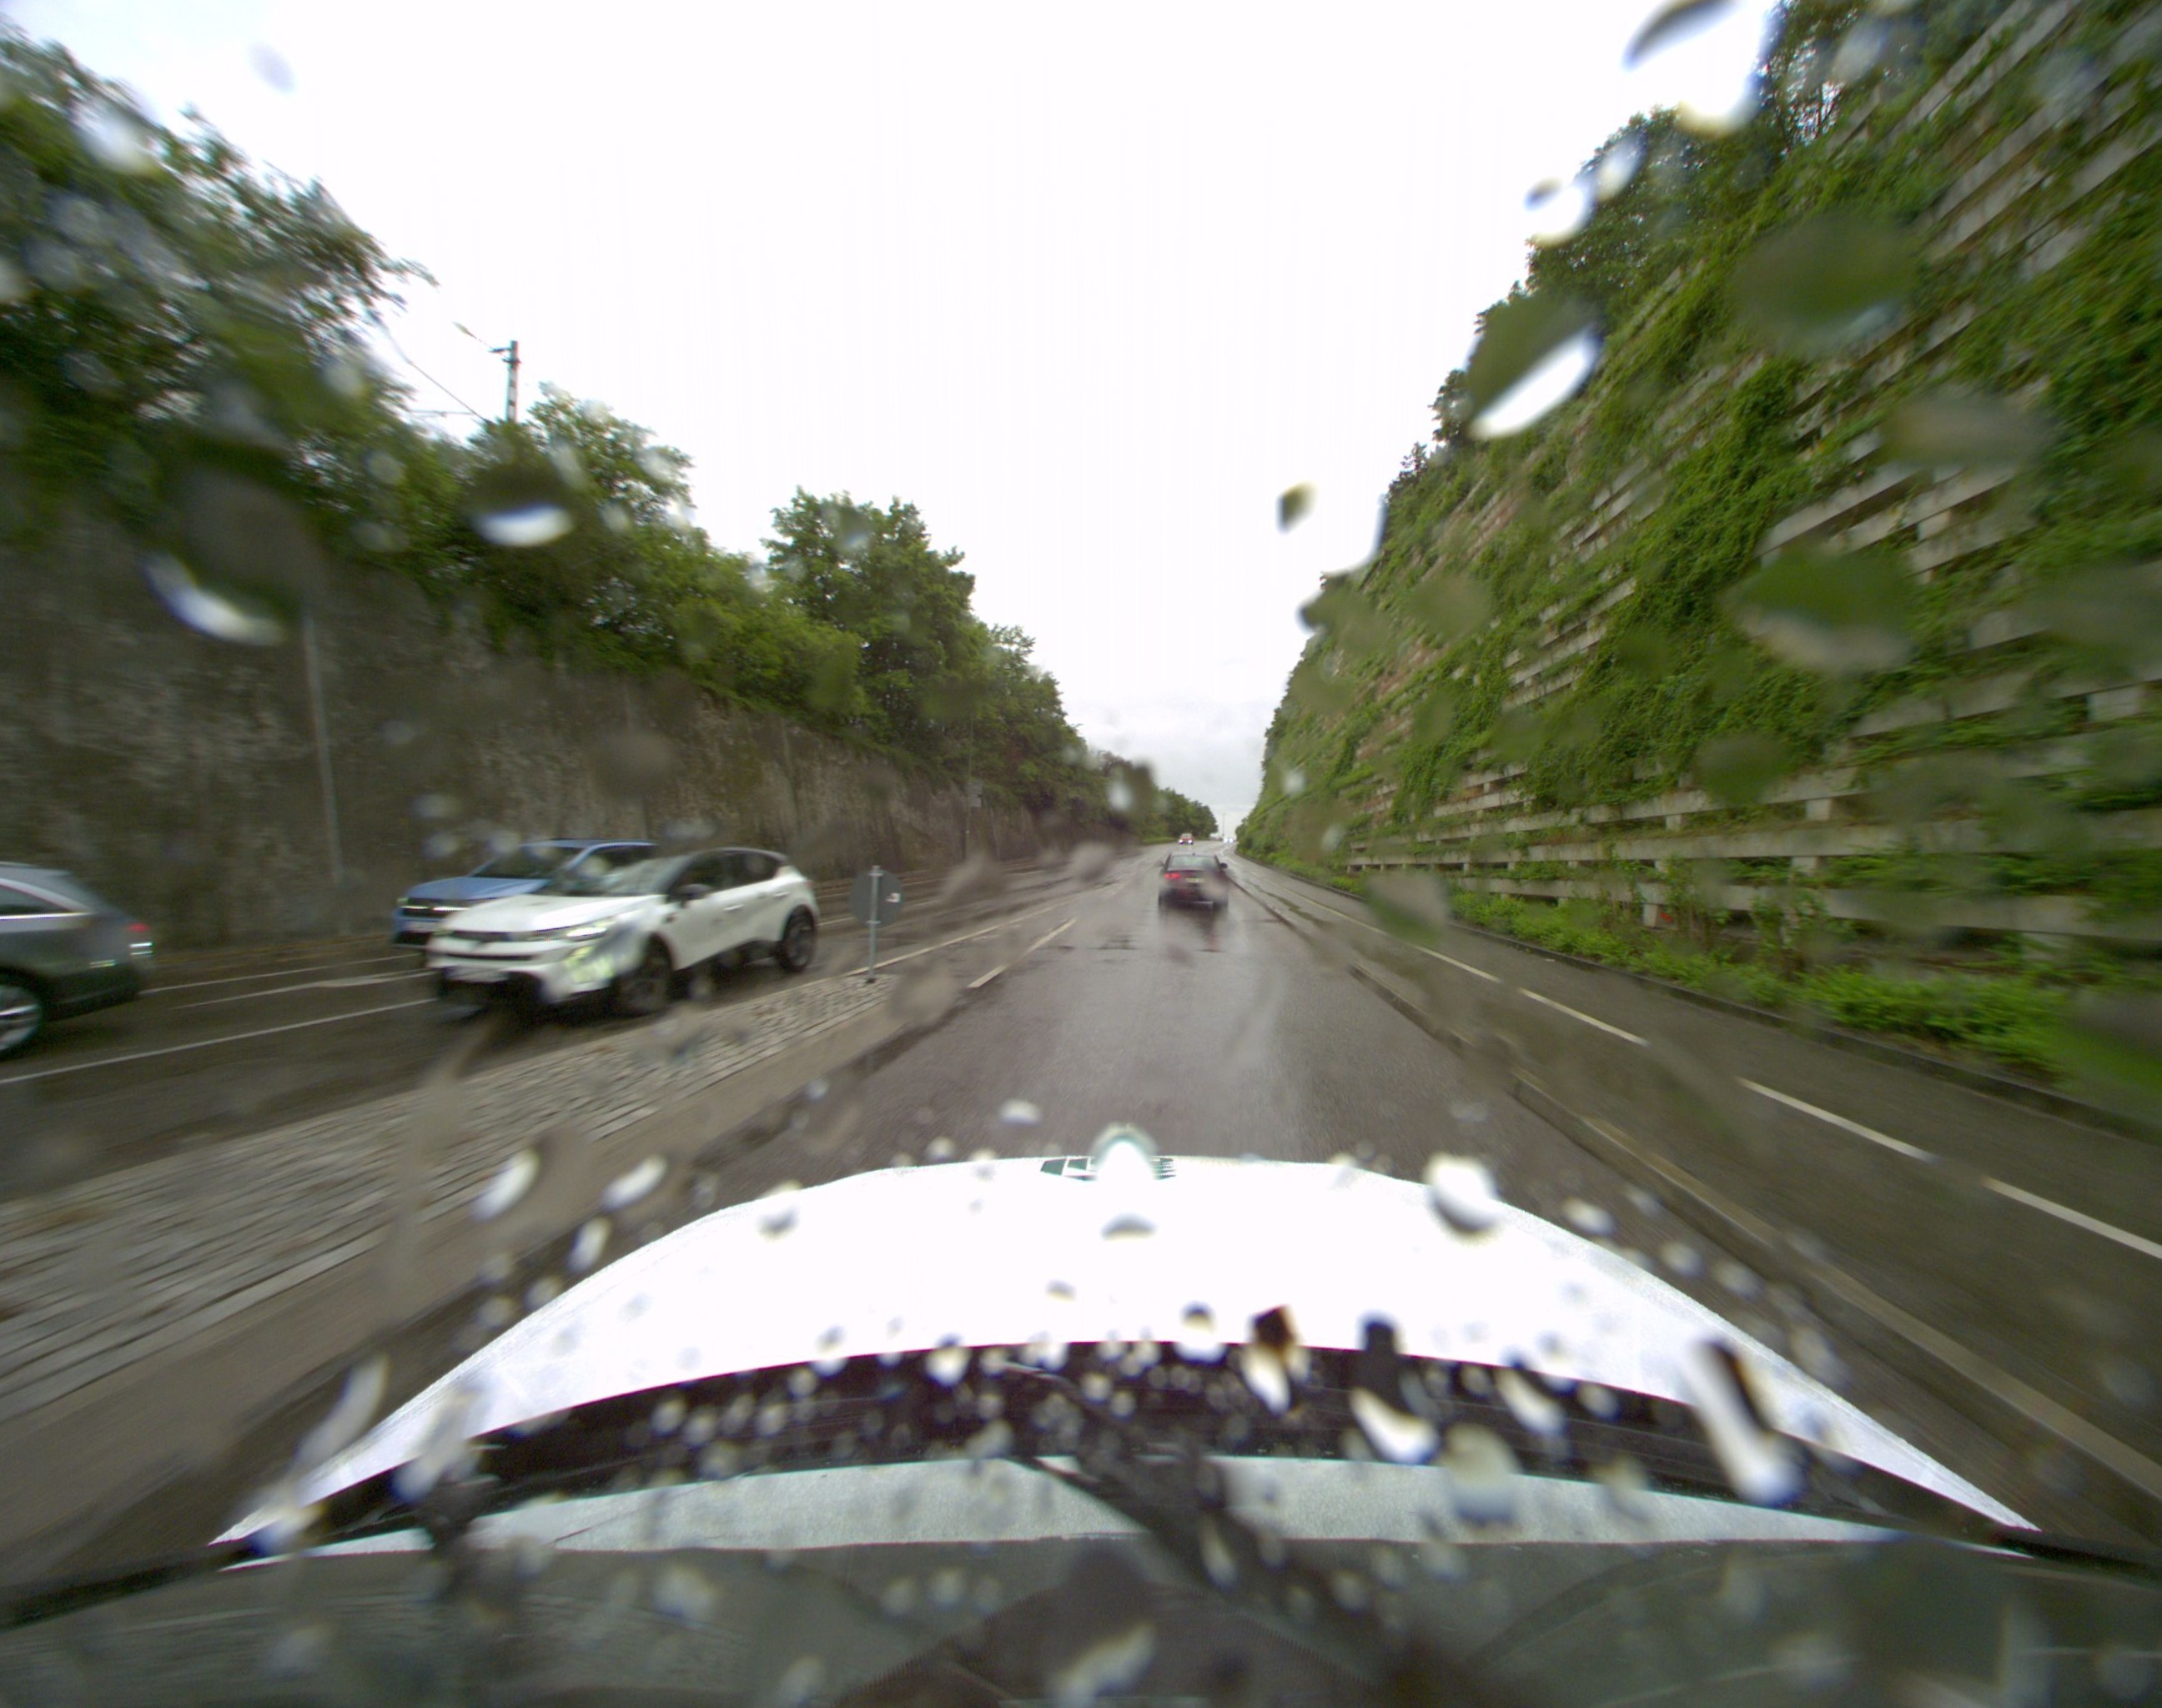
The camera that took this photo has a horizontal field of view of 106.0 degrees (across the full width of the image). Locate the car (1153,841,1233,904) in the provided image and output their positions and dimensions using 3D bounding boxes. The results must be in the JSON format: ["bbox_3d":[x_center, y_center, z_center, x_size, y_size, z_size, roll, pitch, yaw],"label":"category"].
[{"bbox_3d":[3.018,0.434,21.758,1.882,1.492,4.217,-1,0,8],"label":"car"}]

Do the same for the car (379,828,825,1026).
[{"bbox_3d":[-4.630,0.592,8.714,1.856,1.601,4.013,-1,0,11],"label":"car"}]

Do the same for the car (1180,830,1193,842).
[{"bbox_3d":[15.211,-2.549,117.420,1.722,1.618,4.011,2,1,10],"label":"car"}]

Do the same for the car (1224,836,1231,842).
[{"bbox_3d":[37.849,-3.956,210.374,1.853,1.448,4.391,2,3,10],"label":"car"}]

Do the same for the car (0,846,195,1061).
[{"bbox_3d":[-8.823,0.733,4.614,1.980,1.503,4.746,-2,0,13],"label":"car"}]

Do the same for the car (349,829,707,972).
[{"bbox_3d":[-7.509,0.554,11.638,1.802,1.657,4.064,-2,0,12],"label":"car"}]
